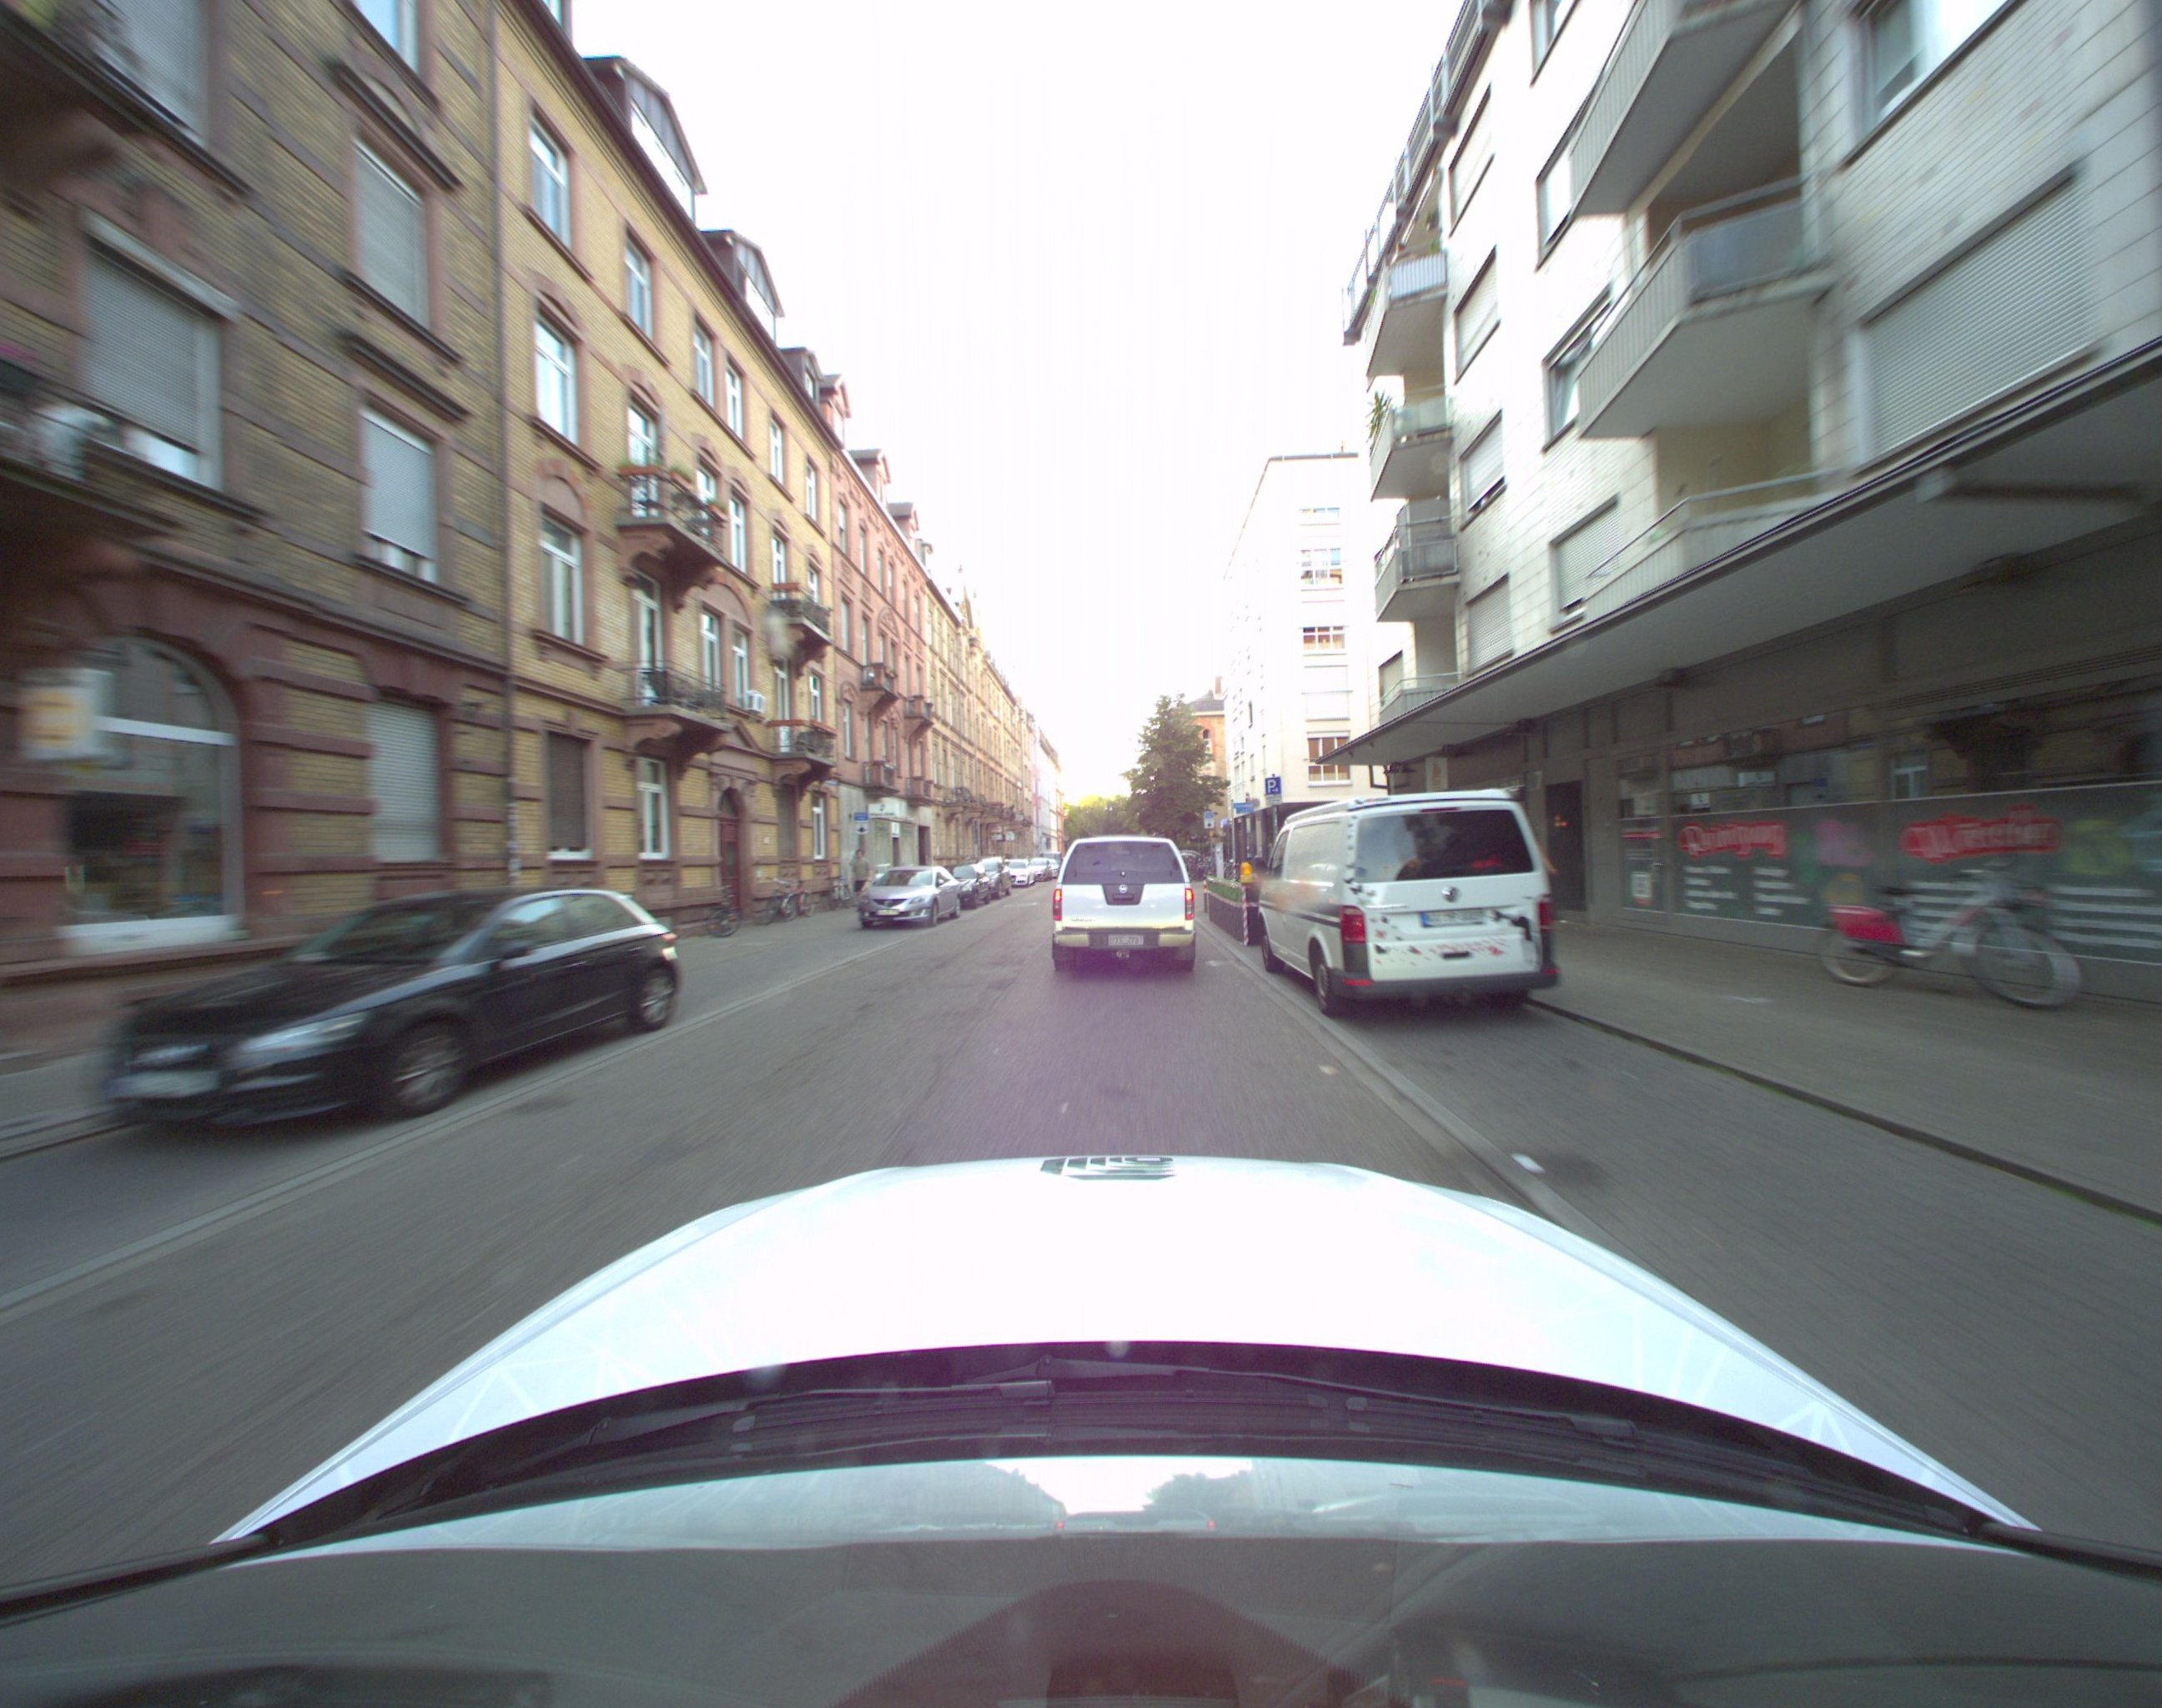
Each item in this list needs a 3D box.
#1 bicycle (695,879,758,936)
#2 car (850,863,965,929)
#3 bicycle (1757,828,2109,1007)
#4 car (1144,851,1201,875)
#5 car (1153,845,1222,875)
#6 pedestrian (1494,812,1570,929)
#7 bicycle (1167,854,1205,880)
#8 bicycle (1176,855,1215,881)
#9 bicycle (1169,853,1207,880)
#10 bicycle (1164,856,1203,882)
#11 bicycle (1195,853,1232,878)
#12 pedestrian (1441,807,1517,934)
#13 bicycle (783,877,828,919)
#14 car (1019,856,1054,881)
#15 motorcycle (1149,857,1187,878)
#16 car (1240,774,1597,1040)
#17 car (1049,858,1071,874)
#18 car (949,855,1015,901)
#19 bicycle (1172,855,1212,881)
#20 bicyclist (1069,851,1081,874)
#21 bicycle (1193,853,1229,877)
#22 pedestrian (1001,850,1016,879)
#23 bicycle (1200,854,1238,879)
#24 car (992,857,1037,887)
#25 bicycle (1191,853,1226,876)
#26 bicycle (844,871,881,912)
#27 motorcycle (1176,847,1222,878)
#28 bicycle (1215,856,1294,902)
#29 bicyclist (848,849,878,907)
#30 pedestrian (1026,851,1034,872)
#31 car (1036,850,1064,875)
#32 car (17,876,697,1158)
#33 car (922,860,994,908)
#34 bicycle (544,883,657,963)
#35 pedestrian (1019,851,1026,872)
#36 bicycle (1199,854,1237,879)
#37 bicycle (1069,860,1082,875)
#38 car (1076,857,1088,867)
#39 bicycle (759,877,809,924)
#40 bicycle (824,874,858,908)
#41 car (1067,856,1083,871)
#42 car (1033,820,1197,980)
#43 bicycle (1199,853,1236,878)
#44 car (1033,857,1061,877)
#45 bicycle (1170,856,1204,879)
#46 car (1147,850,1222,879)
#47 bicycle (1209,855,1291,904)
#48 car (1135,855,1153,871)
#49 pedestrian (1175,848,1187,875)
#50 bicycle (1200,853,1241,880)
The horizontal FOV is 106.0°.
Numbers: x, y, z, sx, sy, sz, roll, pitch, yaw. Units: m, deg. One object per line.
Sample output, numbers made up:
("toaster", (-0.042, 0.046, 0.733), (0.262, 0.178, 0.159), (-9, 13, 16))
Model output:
("bicycle", (-7.653, 1.134, 17.670), (0.736, 1.123, 1.608), (-1, 0, -4))
("car", (-4.216, 0.973, 20.584), (1.716, 1.420, 4.585), (-1, 0, 3))
("bicycle", (6.799, 0.465, 6.654), (0.910, 1.195, 1.704), (-4, -1, -11))
("car", (6.737, 0.634, 60.120), (3.974, 1.456, 1.828), (-4, 0, 0))
("car", (7.127, 0.384, 54.933), (4.382, 1.647, 1.747), (-4, 0, 2))
("pedestrian", (6.736, 0.250, 12.209), (0.704, 1.665, 0.747), (-4, -2, 11))
("bicycle", (5.546, 0.667, 43.051), (1.859, 1.182, 0.744), (-6, -1, 7))
("bicycle", (5.387, 0.666, 38.395), (1.714, 1.118, 0.708), (-4, -1, 5))
("bicycle", (5.573, 0.647, 42.207), (1.776, 1.182, 0.736), (-6, -1, 13))
("bicycle", (4.929, 0.726, 39.272), (1.716, 1.118, 0.707), (-4, -1, 0))
("bicycle", (6.727, 0.572, 41.352), (1.714, 1.118, 0.655), (-4, -1, 5))
("pedestrian", (6.021, 0.249, 12.363), (0.704, 1.828, 0.863), (-4, -2, 9))
("bicycle", (-7.605, 1.198, 22.514), (0.546, 1.037, 1.761), (1, 0, 3))
("car", (-2.799, 0.897, 52.165), (1.709, 1.457, 4.004), (0, 0, 4))
("motorcycle", (5.129, 0.808, 48.123), (2.060, 1.078, 0.661), (-4, -1, -13))
("car", (3.141, 0.410, 8.923), (1.951, 1.973, 5.006), (-4, 0, 3))
("car", (-1.886, 1.100, 74.247), (1.730, 1.418, 4.781), (0, -1, 2))
("car", (-3.806, 0.877, 32.104), (1.845, 1.633, 4.449), (-1, 0, 3))
("bicycle", (5.454, 0.695, 40.045), (1.803, 1.118, 0.707), (-4, -1, 0))
("bicyclist", (-0.448, 0.631, 61.492), (0.641, 1.621, 0.920), (-4, 0, 7))
("bicycle", (6.767, 0.555, 42.435), (1.717, 1.118, 0.653), (-4, -1, -1))
("pedestrian", (-4.525, 0.671, 50.856), (0.549, 1.755, 1.027), (-2, -2, 17))
("bicycle", (6.582, 0.612, 38.954), (1.714, 1.054, 0.655), (-4, -1, 5))
("car", (-3.428, 0.887, 42.491), (1.751, 1.412, 4.511), (-1, 0, 3))
("bicycle", (6.748, 0.552, 43.157), (1.717, 1.118, 0.653), (-4, -1, -1))
("bicycle", (-6.702, 1.133, 25.068), (0.706, 1.196, 1.740), (-1, -1, -2))
("motorcycle", (6.814, 0.497, 47.161), (2.480, 1.549, 0.825), (-4, -1, 5))
("bicycle", (4.681, 0.686, 22.034), (1.920, 1.134, 0.661), (-5, -1, 40))
("bicyclist", (-6.715, 0.727, 25.107), (0.706, 1.730, 0.842), (-1, -2, -3))
("pedestrian", (-4.268, 0.613, 68.495), (0.603, 1.772, 0.777), (1, 0, -2))
("car", (-2.424, 0.653, 65.105), (1.987, 1.924, 4.950), (0, 0, 0))
("car", (-4.940, 0.954, 6.427), (1.685, 1.420, 3.860), (-1, 0, 5))
("car", (-3.987, 0.931, 26.915), (1.578, 1.420, 3.700), (-1, 0, 3))
("bicycle", (-7.997, 1.108, 13.673), (0.524, 1.171, 2.051), (0, 0, 6))
("pedestrian", (-4.916, 0.609, 68.425), (0.578, 1.771, 0.997), (1, 0, -1))
("bicycle", (6.650, 0.612, 39.624), (1.714, 1.054, 0.655), (-4, -1, 5))
("bicycle", (-0.428, 1.021, 61.475), (0.641, 1.081, 2.173), (-4, 0, 7))
("car", (0.162, 1.250, 127.292), (1.693, 1.552, 4.021), (0, 0, 0))
("bicycle", (-7.682, 1.180, 21.112), (0.546, 1.123, 1.761), (1, 0, 3))
("bicycle", (-7.646, 1.162, 26.012), (0.447, 1.022, 1.849), (1, 0, 3))
("car", (-0.769, 1.158, 99.458), (1.839, 1.659, 4.251), (-2, 0, 0))
("car", (0.749, 0.566, 12.154), (1.900, 1.853, 5.282), (-1, -1, 8))
("bicycle", (6.805, 0.565, 40.779), (1.714, 1.118, 0.655), (-4, -1, 5))
("car", (-2.468, 0.939, 59.960), (1.777, 1.423, 4.486), (0, 0, 1))
("bicycle", (5.763, 0.739, 44.414), (1.711, 1.031, 0.668), (-6, -1, 5))
("car", (6.593, 0.662, 52.182), (4.414, 1.455, 1.777), (-4, 0, -4))
("bicycle", (4.358, 0.673, 21.103), (1.920, 1.134, 0.661), (-5, -1, 40))
("car", (6.519, 0.911, 84.903), (1.669, 1.429, 4.482), (-6, 0, 3))
("pedestrian", (6.555, 0.469, 53.252), (0.625, 1.753, 0.586), (-1, -2, -9))
("bicycle", (6.496, 0.565, 37.931), (1.722, 1.131, 0.577), (-4, -1, -10))
